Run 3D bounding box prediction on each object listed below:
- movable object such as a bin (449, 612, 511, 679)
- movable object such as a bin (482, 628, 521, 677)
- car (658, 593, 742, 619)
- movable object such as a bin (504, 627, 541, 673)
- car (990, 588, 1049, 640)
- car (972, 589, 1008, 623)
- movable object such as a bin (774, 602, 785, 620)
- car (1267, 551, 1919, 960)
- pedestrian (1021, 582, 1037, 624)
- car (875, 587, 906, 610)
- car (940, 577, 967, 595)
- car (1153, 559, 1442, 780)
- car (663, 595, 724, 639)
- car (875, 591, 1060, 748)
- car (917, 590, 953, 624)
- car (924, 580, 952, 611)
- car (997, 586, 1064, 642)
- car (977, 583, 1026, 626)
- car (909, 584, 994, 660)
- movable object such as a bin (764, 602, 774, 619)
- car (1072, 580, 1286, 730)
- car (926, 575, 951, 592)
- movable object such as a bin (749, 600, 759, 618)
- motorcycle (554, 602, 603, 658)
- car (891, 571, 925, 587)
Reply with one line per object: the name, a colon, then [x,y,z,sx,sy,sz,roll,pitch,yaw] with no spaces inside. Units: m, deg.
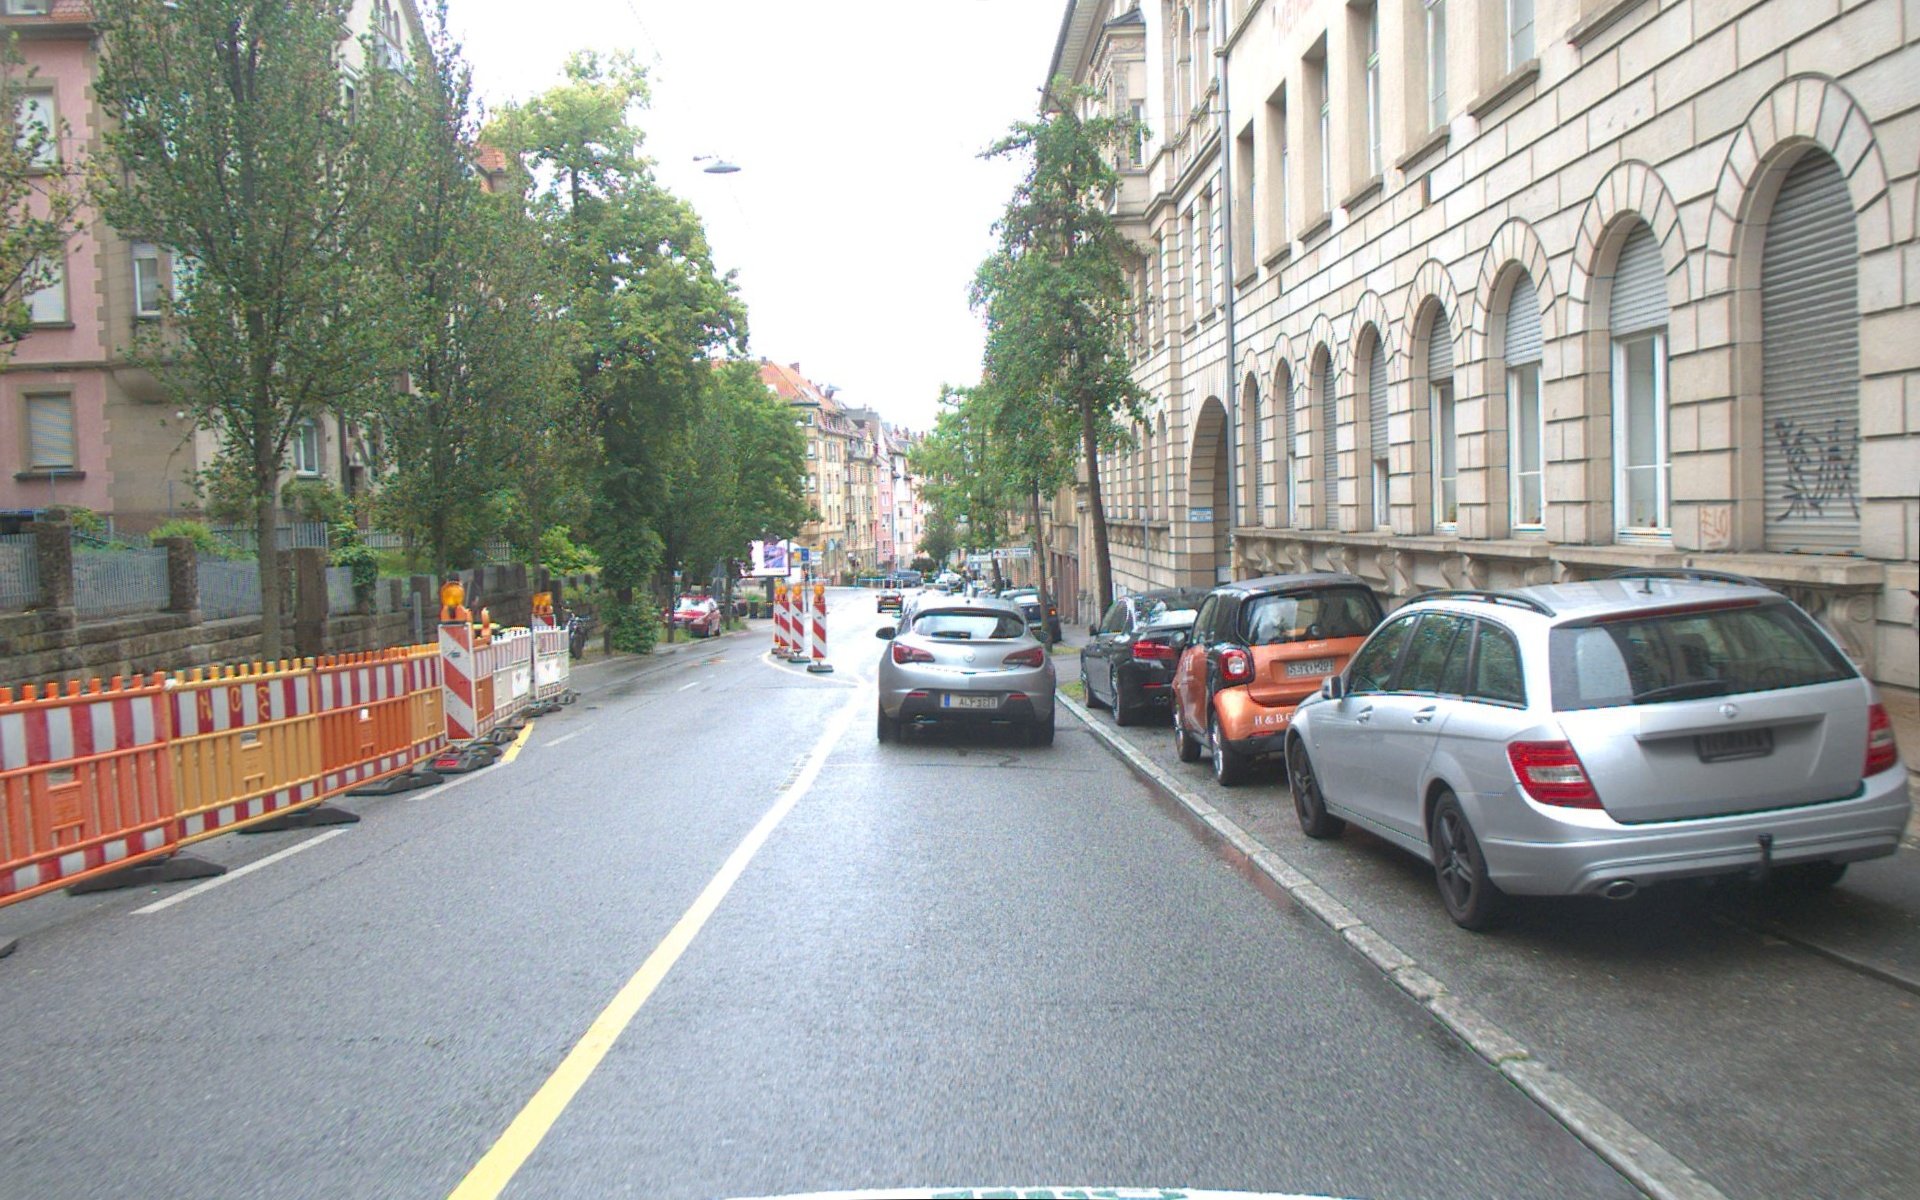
movable object such as a bin: [-9.234,0.870,31.856,0.925,1.235,0.856,1,1,0]
movable object such as a bin: [-9.089,1.034,32.811,0.591,0.923,0.624,1,1,0]
car: [-13.995,0.318,88.961,4.247,1.265,1.633,-2,1,-20]
movable object such as a bin: [-9.046,1.024,34.237,0.591,0.923,0.624,1,1,0]
car: [1.830,0.410,51.749,1.604,1.494,3.857,-1,1,-1]
car: [1.473,0.280,81.339,1.604,1.551,3.857,-1,1,-1]
movable object such as a bin: [-11.373,0.694,104.278,0.646,1.077,0.626,2,0,-9]
car: [2.949,0.570,8.576,1.661,1.456,4.420,-4,1,-2]
pedestrian: [3.209,0.145,77.081,0.701,1.903,0.635,1,-1,-1]
car: [-4.733,-0.100,112.909,1.953,1.527,3.999,-1,0,-1]
car: [-0.597,-1.375,161.940,1.951,1.713,4.003,2,0,9]
car: [2.715,0.504,13.979,1.606,1.546,3.182,-4,1,-2]
car: [-9.697,0.602,60.440,1.604,1.464,4.079,-1,1,-1]
car: [0.064,0.663,17.929,1.774,1.475,3.869,0,1,0]
car: [-1.277,0.356,83.132,1.624,1.569,3.663,-3,0,-3]
car: [-1.272,-0.293,97.780,1.623,1.813,3.665,0,0,-1]
car: [1.949,0.361,46.637,1.604,1.454,3.375,-1,1,-2]
car: [1.638,0.148,66.580,1.605,1.630,3.855,-1,1,-3]
car: [-0.209,0.437,36.024,1.736,1.530,3.868,0,1,-1]
movable object such as a bin: [-11.928,0.645,103.168,0.613,1.077,0.719,2,0,-7]
car: [2.501,0.561,20.011,1.722,1.486,4.722,-4,1,-2]
car: [-2.208,-1.762,174.106,1.951,1.713,4.003,2,0,9]
movable object such as a bin: [-12.857,0.570,103.219,0.613,1.077,0.633,2,0,-7]
motorcycle: [-9.691,0.748,42.048,0.750,1.369,2.202,1,0,-1]
car: [-6.160,-2.451,195.116,3.906,1.780,1.999,2,0,-1]
